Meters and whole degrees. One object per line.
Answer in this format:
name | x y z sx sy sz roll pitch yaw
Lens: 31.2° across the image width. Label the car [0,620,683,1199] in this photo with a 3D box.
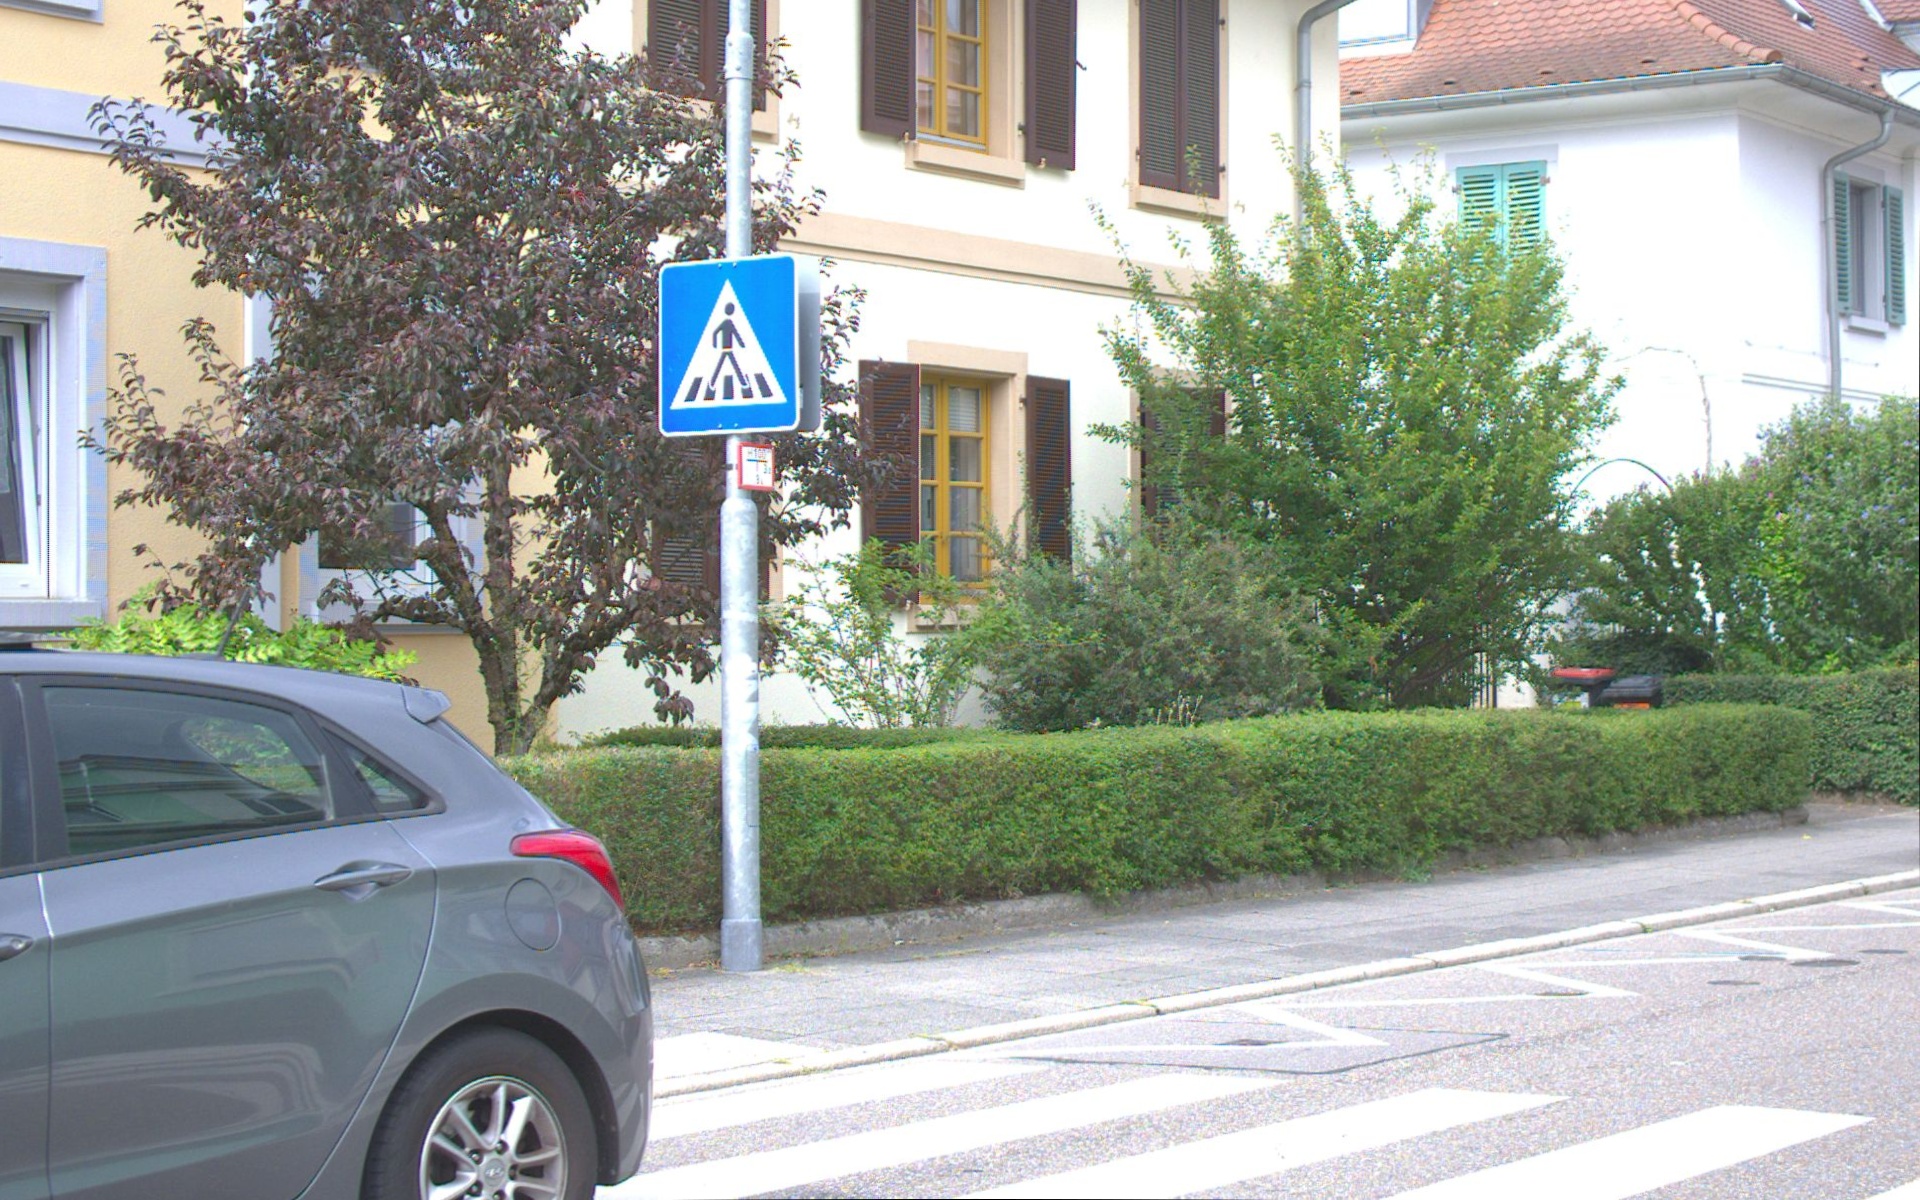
car | -2.645 0.783 6.844 1.853 1.476 4.032 -1 -1 41
